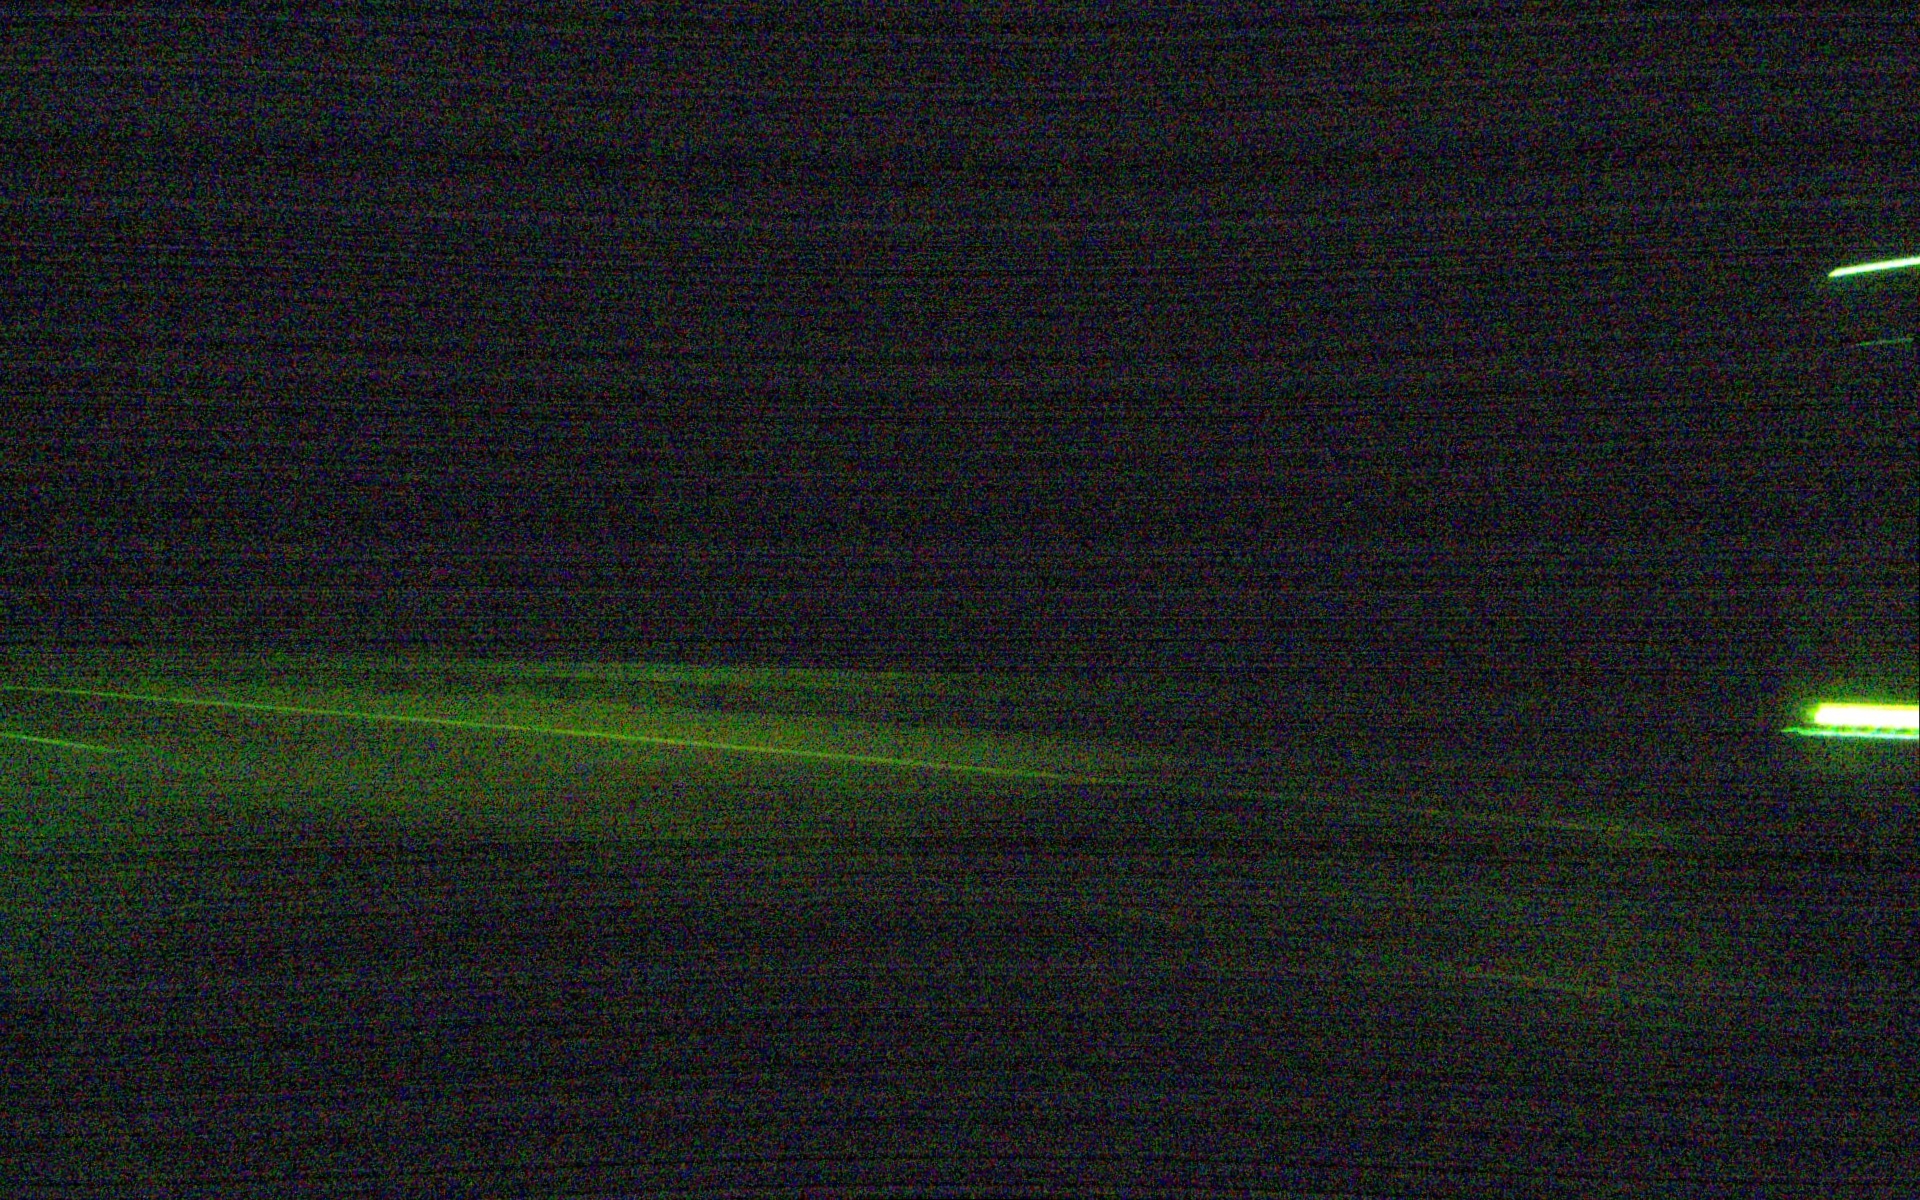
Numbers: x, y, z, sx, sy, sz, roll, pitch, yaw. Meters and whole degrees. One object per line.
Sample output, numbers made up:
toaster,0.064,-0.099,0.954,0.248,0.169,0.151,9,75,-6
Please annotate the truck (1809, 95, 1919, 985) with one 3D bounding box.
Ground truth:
truck,8.176,-0.264,3.236,7.941,3.889,2.861,-1,-2,33
